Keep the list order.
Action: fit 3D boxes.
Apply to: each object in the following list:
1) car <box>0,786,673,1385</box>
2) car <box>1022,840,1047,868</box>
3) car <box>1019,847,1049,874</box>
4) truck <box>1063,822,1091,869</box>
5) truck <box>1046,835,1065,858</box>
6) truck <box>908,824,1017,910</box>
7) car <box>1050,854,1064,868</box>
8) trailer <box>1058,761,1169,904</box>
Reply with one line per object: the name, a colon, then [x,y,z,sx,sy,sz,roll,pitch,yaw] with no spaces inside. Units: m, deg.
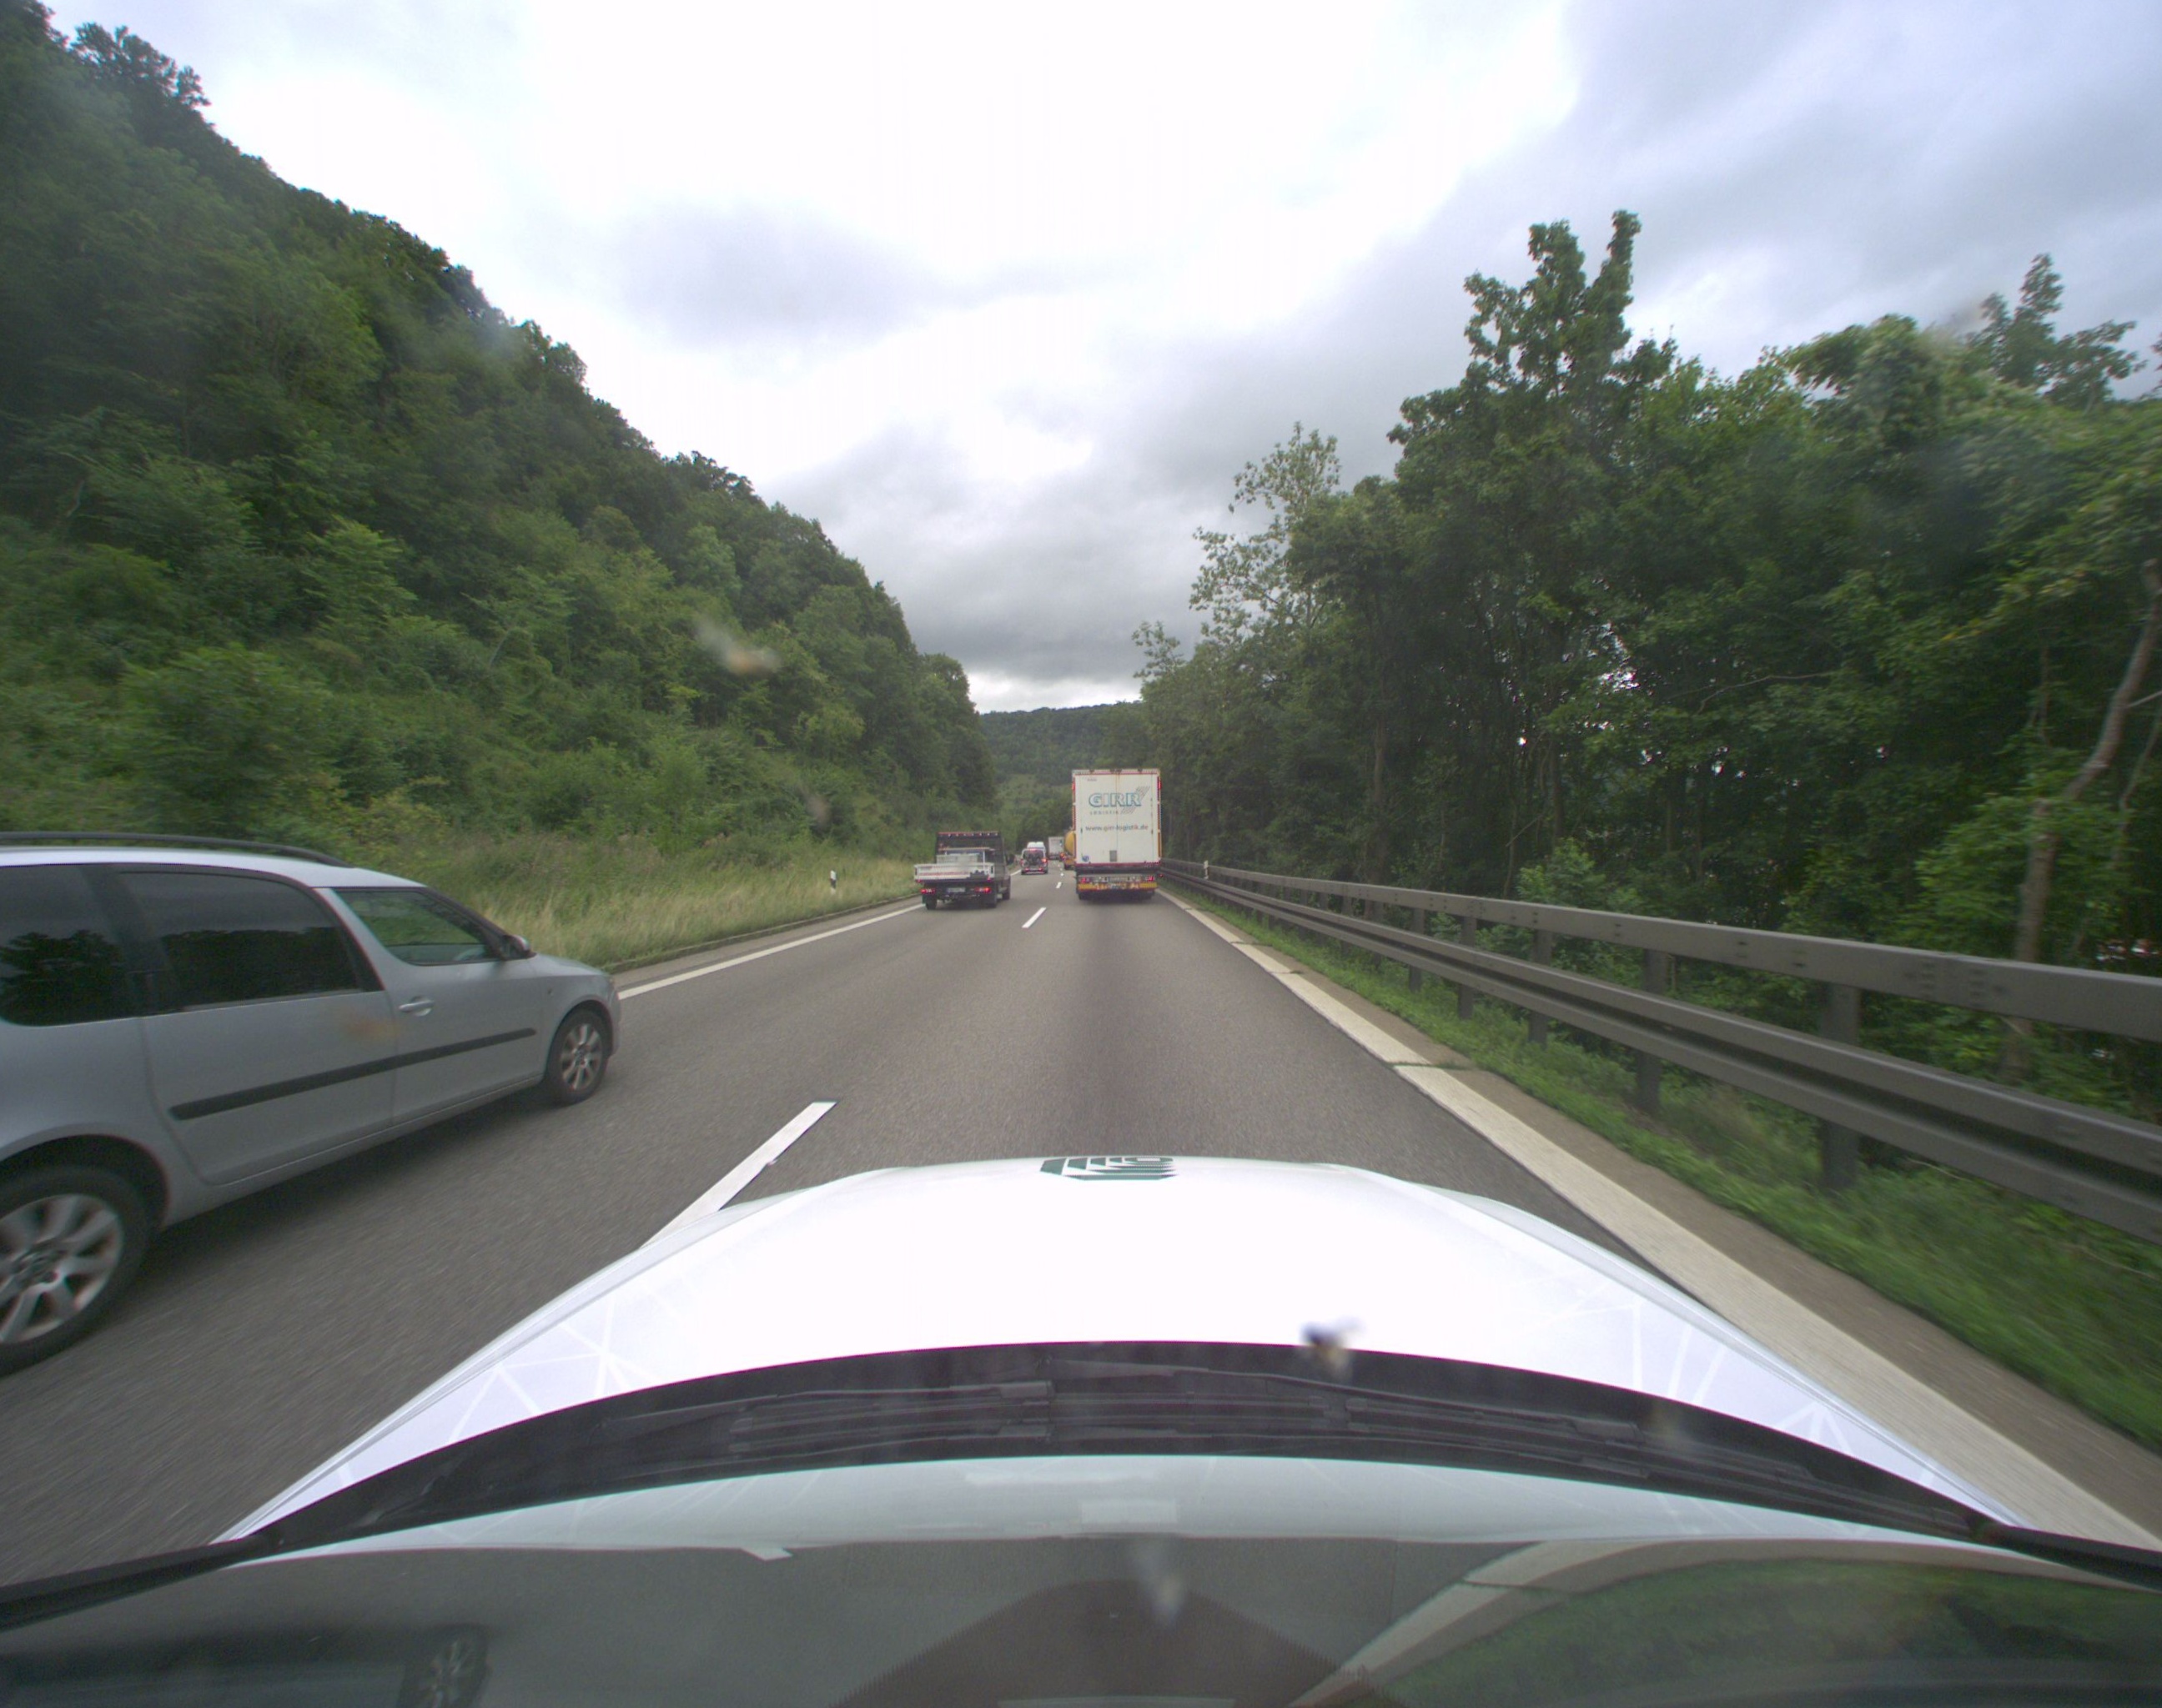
car: [-3.928,0.678,3.959,1.628,1.726,4.345,-1,0,0]
car: [-4.519,0.015,79.337,2.117,2.598,5.561,-1,0,-1]
car: [-3.398,0.419,59.714,2.012,1.914,5.560,0,0,-1]
truck: [-0.363,-0.680,70.217,2.227,3.804,6.820,0,0,-1]
truck: [-4.425,-1.242,139.109,3.061,3.877,8.450,0,0,-3]
truck: [-3.436,0.327,25.198,2.341,2.274,6.848,0,0,0]
car: [-3.493,0.972,117.451,1.989,2.013,3.995,0,0,-4]
trailer: [0.956,-0.652,28.111,3.123,4.042,9.439,1,0,0]
